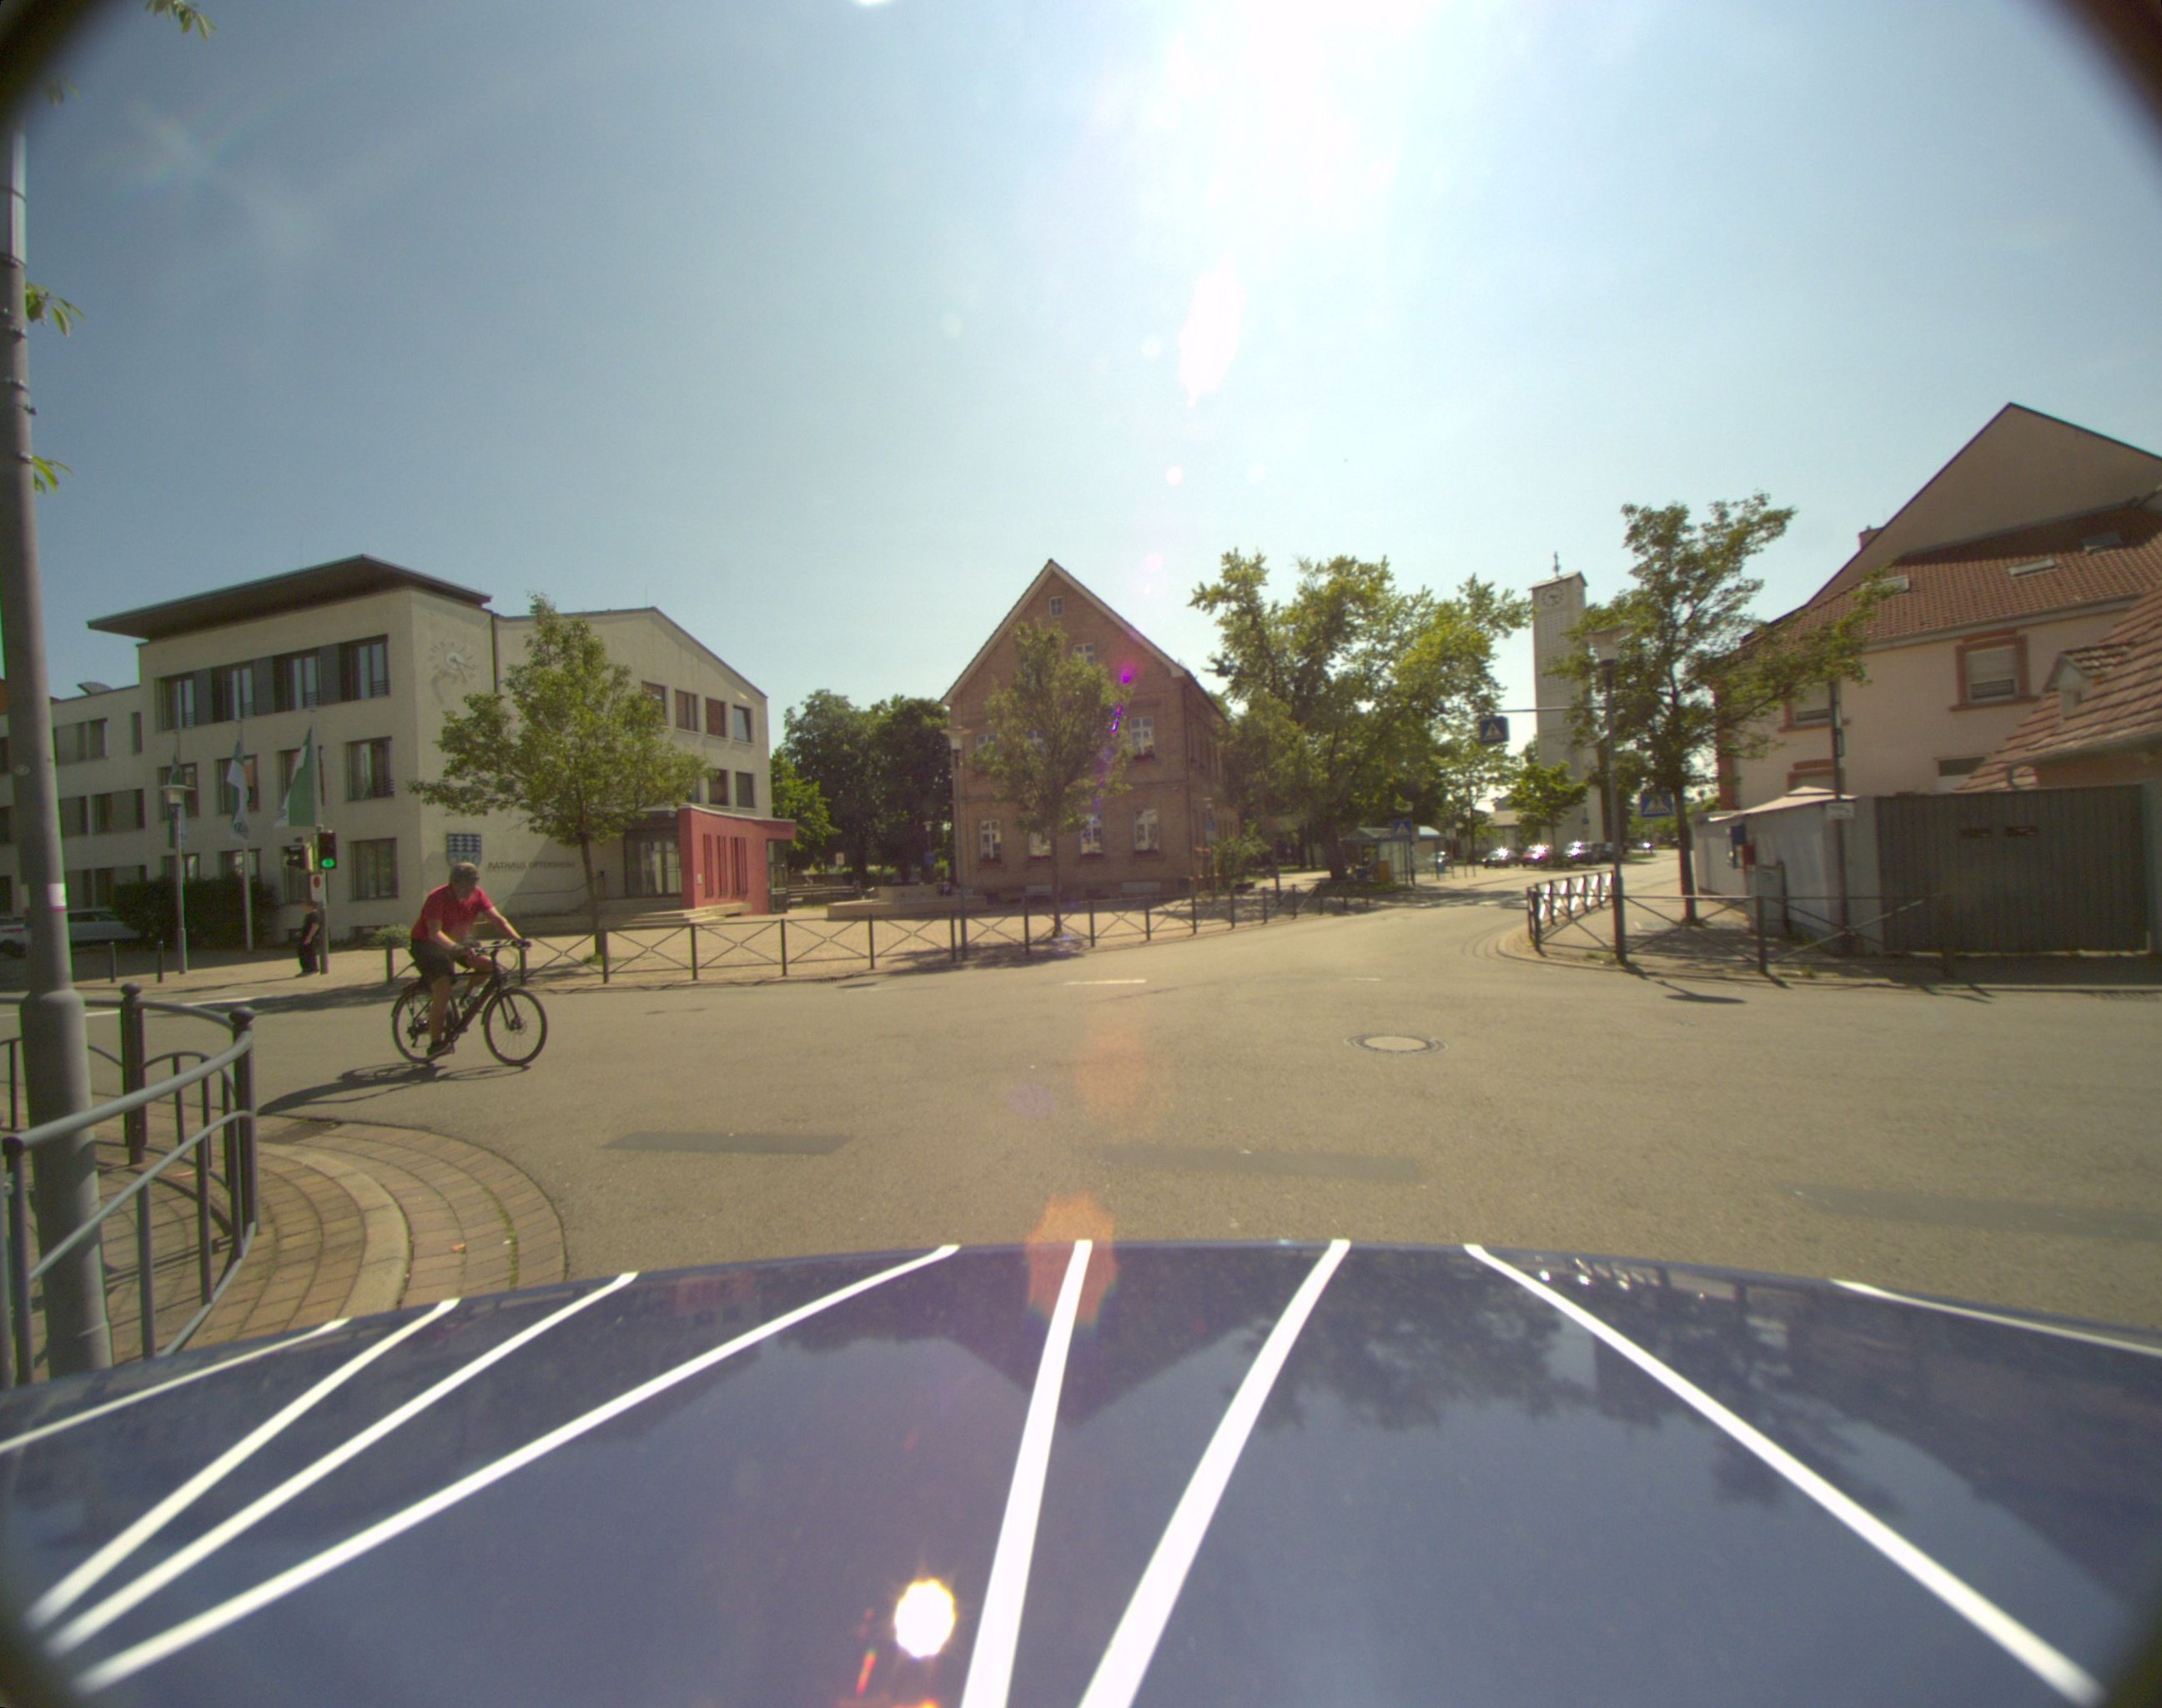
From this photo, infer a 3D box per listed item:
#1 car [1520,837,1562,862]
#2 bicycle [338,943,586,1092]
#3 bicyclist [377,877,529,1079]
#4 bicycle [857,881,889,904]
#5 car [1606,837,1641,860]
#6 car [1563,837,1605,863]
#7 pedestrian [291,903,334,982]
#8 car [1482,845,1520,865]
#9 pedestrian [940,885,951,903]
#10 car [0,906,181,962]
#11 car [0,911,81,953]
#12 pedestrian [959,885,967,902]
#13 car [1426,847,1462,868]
[{"bbox_3d":[35.678,-0.372,58.887,1.777,1.783,4.008,-4,-2,44],"label":"car"},{"bbox_3d":[-5.646,1.446,6.946,1.967,1.182,0.739,-3,-2,15],"label":"bicycle"},{"bbox_3d":[-5.711,1.081,6.935,0.758,1.706,0.704,-2,1,16],"label":"bicyclist"},{"bbox_3d":[-10.517,1.940,38.469,0.579,1.000,1.956,-3,1,17],"label":"bicycle"},{"bbox_3d":[41.693,-0.422,58.368,1.777,1.635,4.008,-3,-2,41],"label":"car"},{"bbox_3d":[37.596,-0.324,56.734,4.008,1.783,1.777,-2,0,-44],"label":"car"},{"bbox_3d":[-16.629,1.896,16.446,0.551,1.609,0.556,-2,0,-37],"label":"pedestrian"},{"bbox_3d":[33.383,0.054,60.335,1.646,1.459,3.787,-4,-2,44],"label":"car"},{"bbox_3d":[-6.172,1.808,34.580,0.367,0.812,0.362,-2,-1,2],"label":"pedestrian"},{"bbox_3d":[-36.121,2.846,27.588,1.745,1.538,4.005,-3,0,17],"label":"car"},{"bbox_3d":[-43.868,3.232,30.402,1.510,1.470,4.332,-2,1,19],"label":"car"},{"bbox_3d":[-5.363,1.788,34.463,0.289,0.728,0.358,-2,-1,2],"label":"pedestrian"},{"bbox_3d":[30.249,0.245,63.215,1.995,1.607,4.008,-3,-1,35],"label":"car"}]
